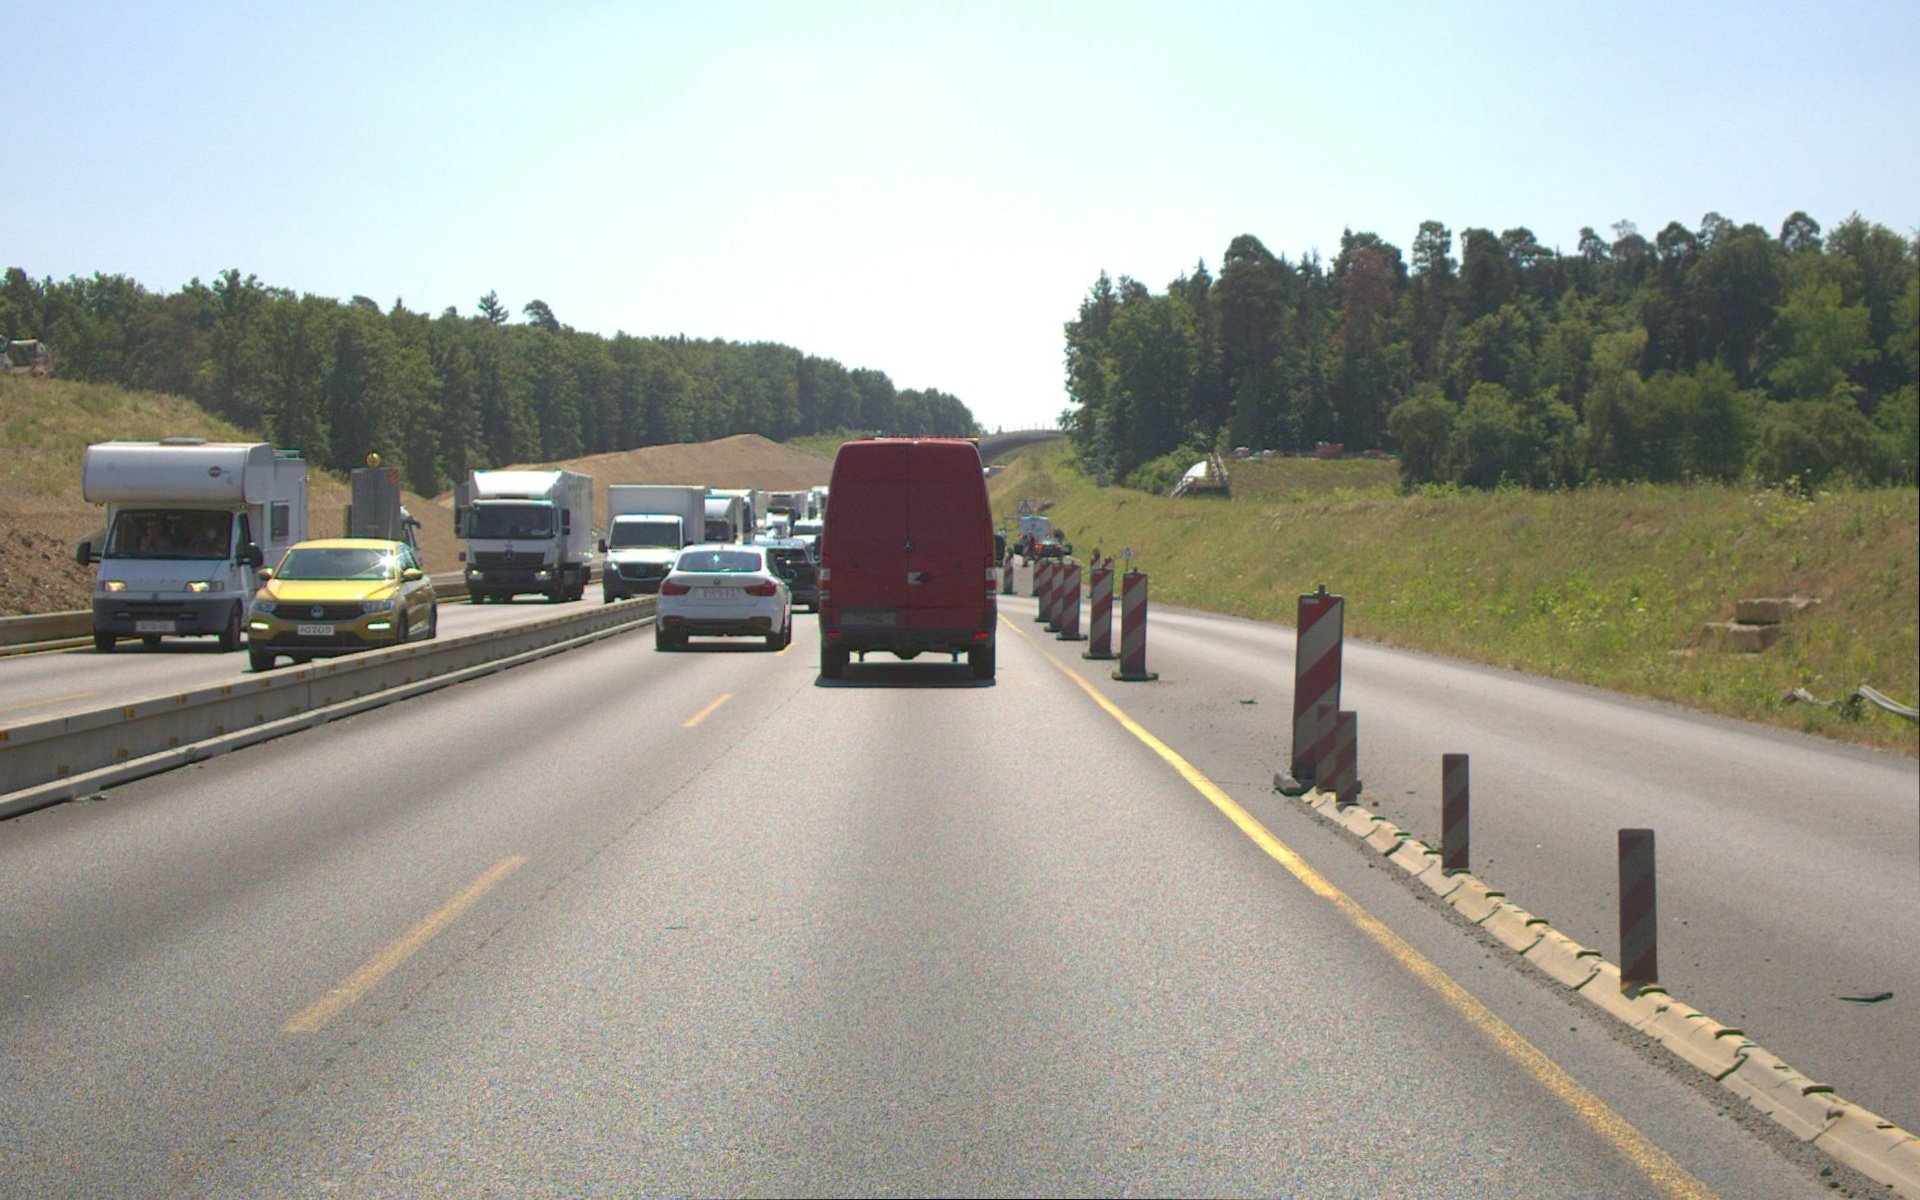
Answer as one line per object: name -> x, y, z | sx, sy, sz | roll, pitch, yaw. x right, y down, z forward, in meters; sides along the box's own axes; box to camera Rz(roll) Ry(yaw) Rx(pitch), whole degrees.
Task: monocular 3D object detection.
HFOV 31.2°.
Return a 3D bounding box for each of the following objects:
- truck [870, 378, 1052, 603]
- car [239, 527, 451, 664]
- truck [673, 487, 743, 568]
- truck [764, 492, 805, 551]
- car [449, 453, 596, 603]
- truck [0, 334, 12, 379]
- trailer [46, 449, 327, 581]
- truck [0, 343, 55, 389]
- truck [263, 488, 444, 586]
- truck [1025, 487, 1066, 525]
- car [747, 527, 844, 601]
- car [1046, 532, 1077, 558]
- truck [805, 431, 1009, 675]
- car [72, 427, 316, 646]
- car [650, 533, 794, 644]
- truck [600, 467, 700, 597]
truck -> -0.069, -2.786, 92.865 | 4.400, 5.477, 16.604 | 1, 1, -1
car -> -7.422, -0.093, 41.847 | 1.762, 1.568, 4.362 | 1, 1, 0
truck -> -11.823, -3.365, 162.084 | 2.644, 3.703, 9.483 | 1, 1, -1
truck -> -12.863, -5.752, 252.292 | 2.491, 4.184, 5.912 | -1, 1, 1
car -> -11.429, -1.901, 90.482 | 2.908, 3.727, 8.091 | 1, 1, -1
truck -> -66.318, -16.236, 230.690 | 2.354, 2.888, 8.366 | 0, 1, -36
trailer -> -24.769, -2.709, 110.179 | 8.347, 4.084, 2.798 | 1, 0, 13
truck -> -65.577, -16.191, 238.593 | 2.295, 2.739, 8.905 | 0, 1, -36
truck -> -19.360, -1.978, 109.694 | 5.045, 2.954, 2.587 | 1, 0, -30
truck -> 5.657, -6.223, 226.753 | 2.130, 2.448, 5.924 | 1, 2, 6
car -> -3.608, -0.824, 76.227 | 1.967, 1.536, 4.311 | 1, 2, -1
car -> 6.145, -3.354, 208.782 | 1.654, 1.422, 4.545 | -2, 2, 0
truck -> -0.589, -0.539, 39.455 | 2.153, 2.581, 5.333 | 1, 1, 0
car -> -10.947, -0.895, 49.591 | 2.251, 2.945, 5.849 | 1, 1, -1
car -> -3.393, -0.188, 49.636 | 1.831, 1.517, 3.961 | 1, 1, -1
truck -> -7.866, -1.705, 87.837 | 2.271, 3.139, 7.315 | 1, 1, -3
